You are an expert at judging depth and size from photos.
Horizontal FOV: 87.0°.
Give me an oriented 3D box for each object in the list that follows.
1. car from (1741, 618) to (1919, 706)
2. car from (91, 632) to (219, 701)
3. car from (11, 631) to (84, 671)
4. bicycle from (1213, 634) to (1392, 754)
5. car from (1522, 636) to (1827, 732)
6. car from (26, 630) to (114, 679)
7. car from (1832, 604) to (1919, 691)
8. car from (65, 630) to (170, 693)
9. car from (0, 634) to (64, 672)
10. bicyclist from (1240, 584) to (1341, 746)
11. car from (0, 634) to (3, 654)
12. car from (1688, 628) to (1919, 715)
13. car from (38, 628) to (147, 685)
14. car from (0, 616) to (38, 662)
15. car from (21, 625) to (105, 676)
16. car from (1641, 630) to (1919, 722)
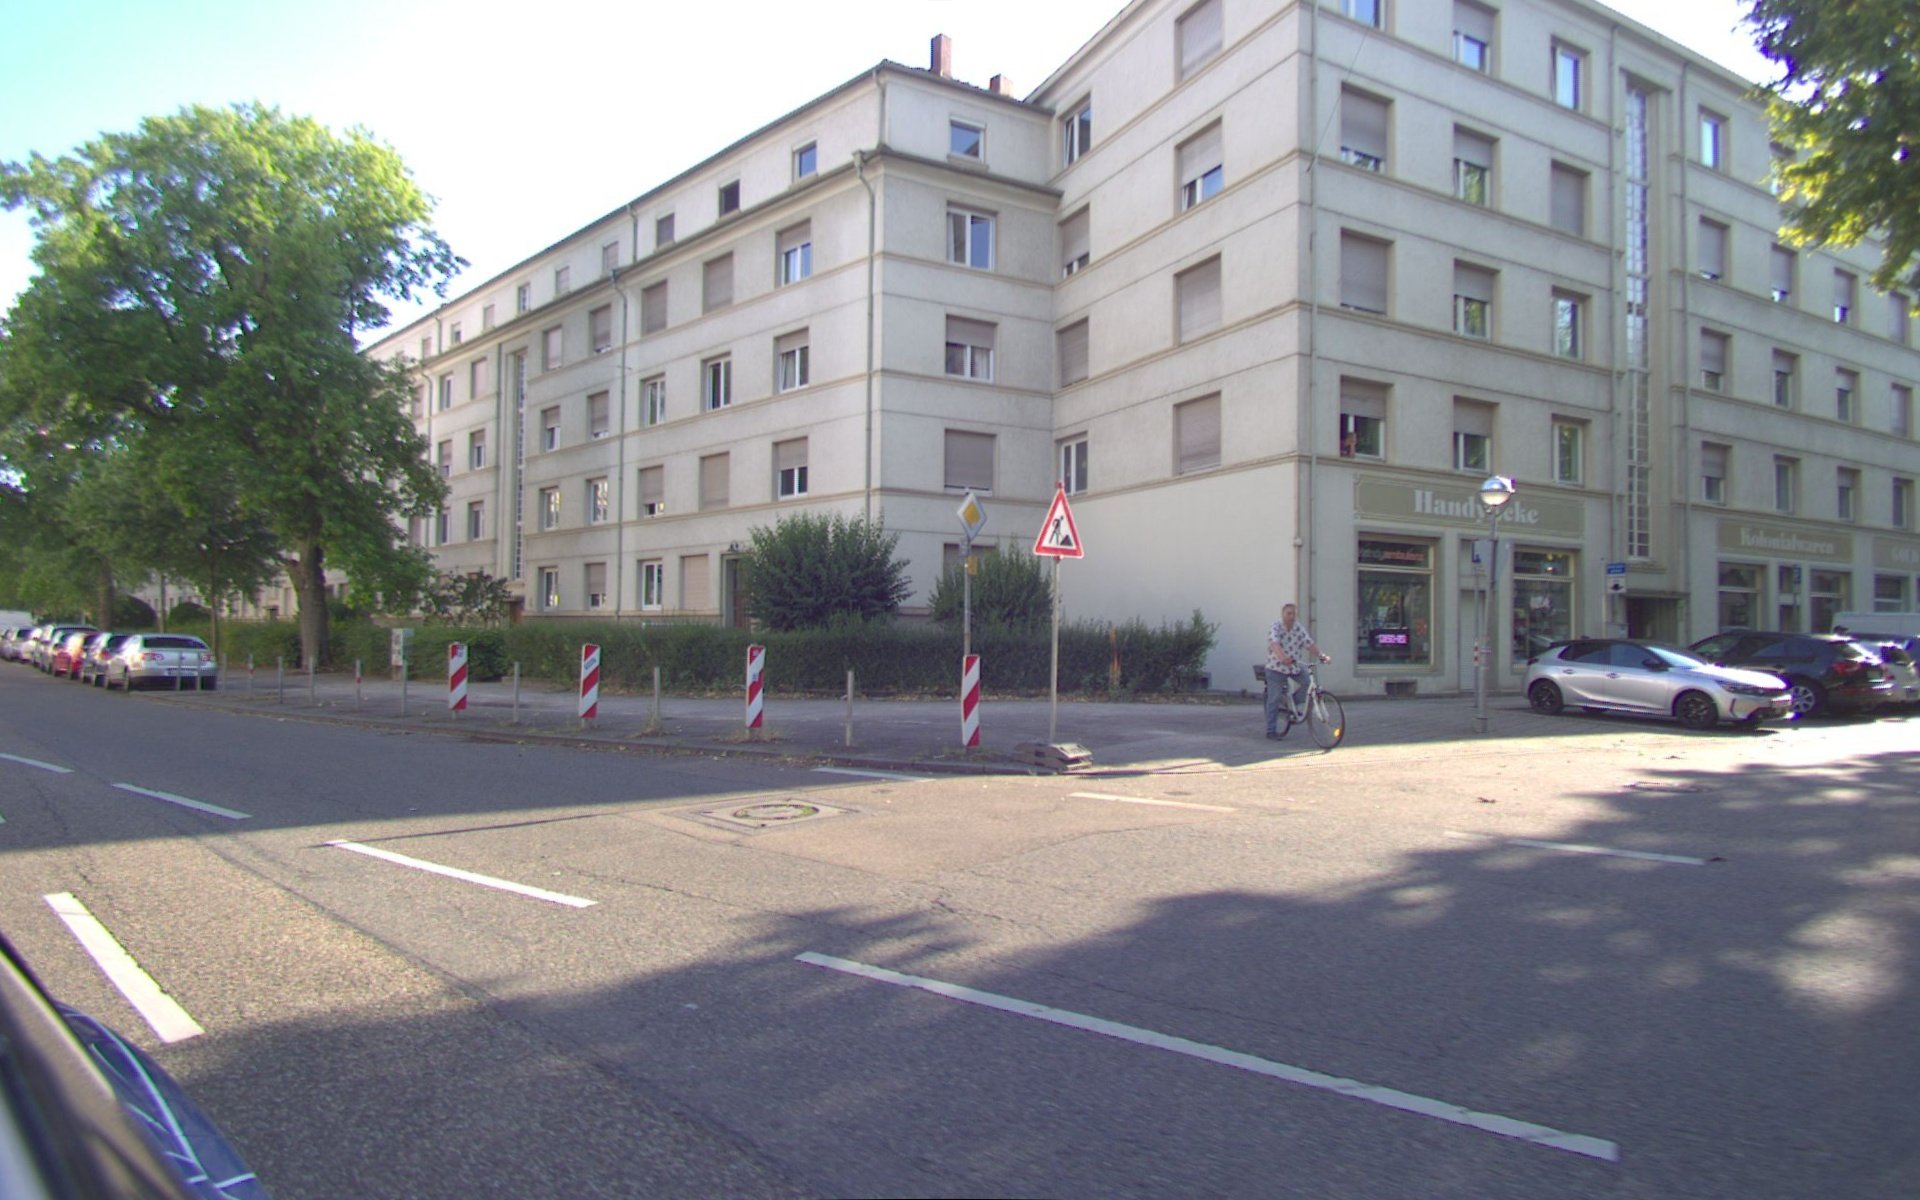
[{"bbox_3d":[19.821,1.324,22.088,1.627,1.740,4.047,3,-1,-32],"label":"car"},{"bbox_3d":[-20.290,1.596,25.424,4.710,1.362,1.751,0,3,43],"label":"car"},{"bbox_3d":[-38.982,2.185,43.208,4.100,1.570,1.850,-3,-6,42],"label":"car"},{"bbox_3d":[4.281,1.121,12.933,0.994,1.274,2.490,0,0,-13],"label":"bicycle"},{"bbox_3d":[12.236,1.376,17.637,1.626,1.346,4.049,3,-1,-26],"label":"car"},{"bbox_3d":[-31.257,1.879,35.512,4.496,1.570,1.851,-2,-1,43],"label":"car"},{"bbox_3d":[24.793,1.202,24.607,1.627,2.138,5.184,3,-1,-32],"label":"car"},{"bbox_3d":[-23.863,1.681,28.627,4.128,1.450,1.686,0,3,43],"label":"car"},{"bbox_3d":[-42.883,2.430,46.565,5.056,1.570,1.850,-2,-7,43],"label":"car"},{"bbox_3d":[4.288,0.811,13.166,0.961,2.029,0.799,0,0,-13],"label":"bicyclist"},{"bbox_3d":[-67.037,2.917,69.125,4.650,1.366,1.854,-1,-5,40],"label":"car"},{"bbox_3d":[17.976,1.431,21.239,1.627,1.559,4.047,3,-1,-32],"label":"car"},{"bbox_3d":[-27.333,1.719,31.859,3.995,1.570,1.853,-1,1,38],"label":"car"},{"bbox_3d":[-54.801,2.205,57.931,6.163,2.464,2.333,-1,1,42],"label":"car"},{"bbox_3d":[-34.403,1.883,38.767,4.973,1.690,1.896,0,1,43],"label":"car"},{"bbox_3d":[16.022,1.419,19.918,1.626,1.523,4.049,3,-1,-26],"label":"car"}]
